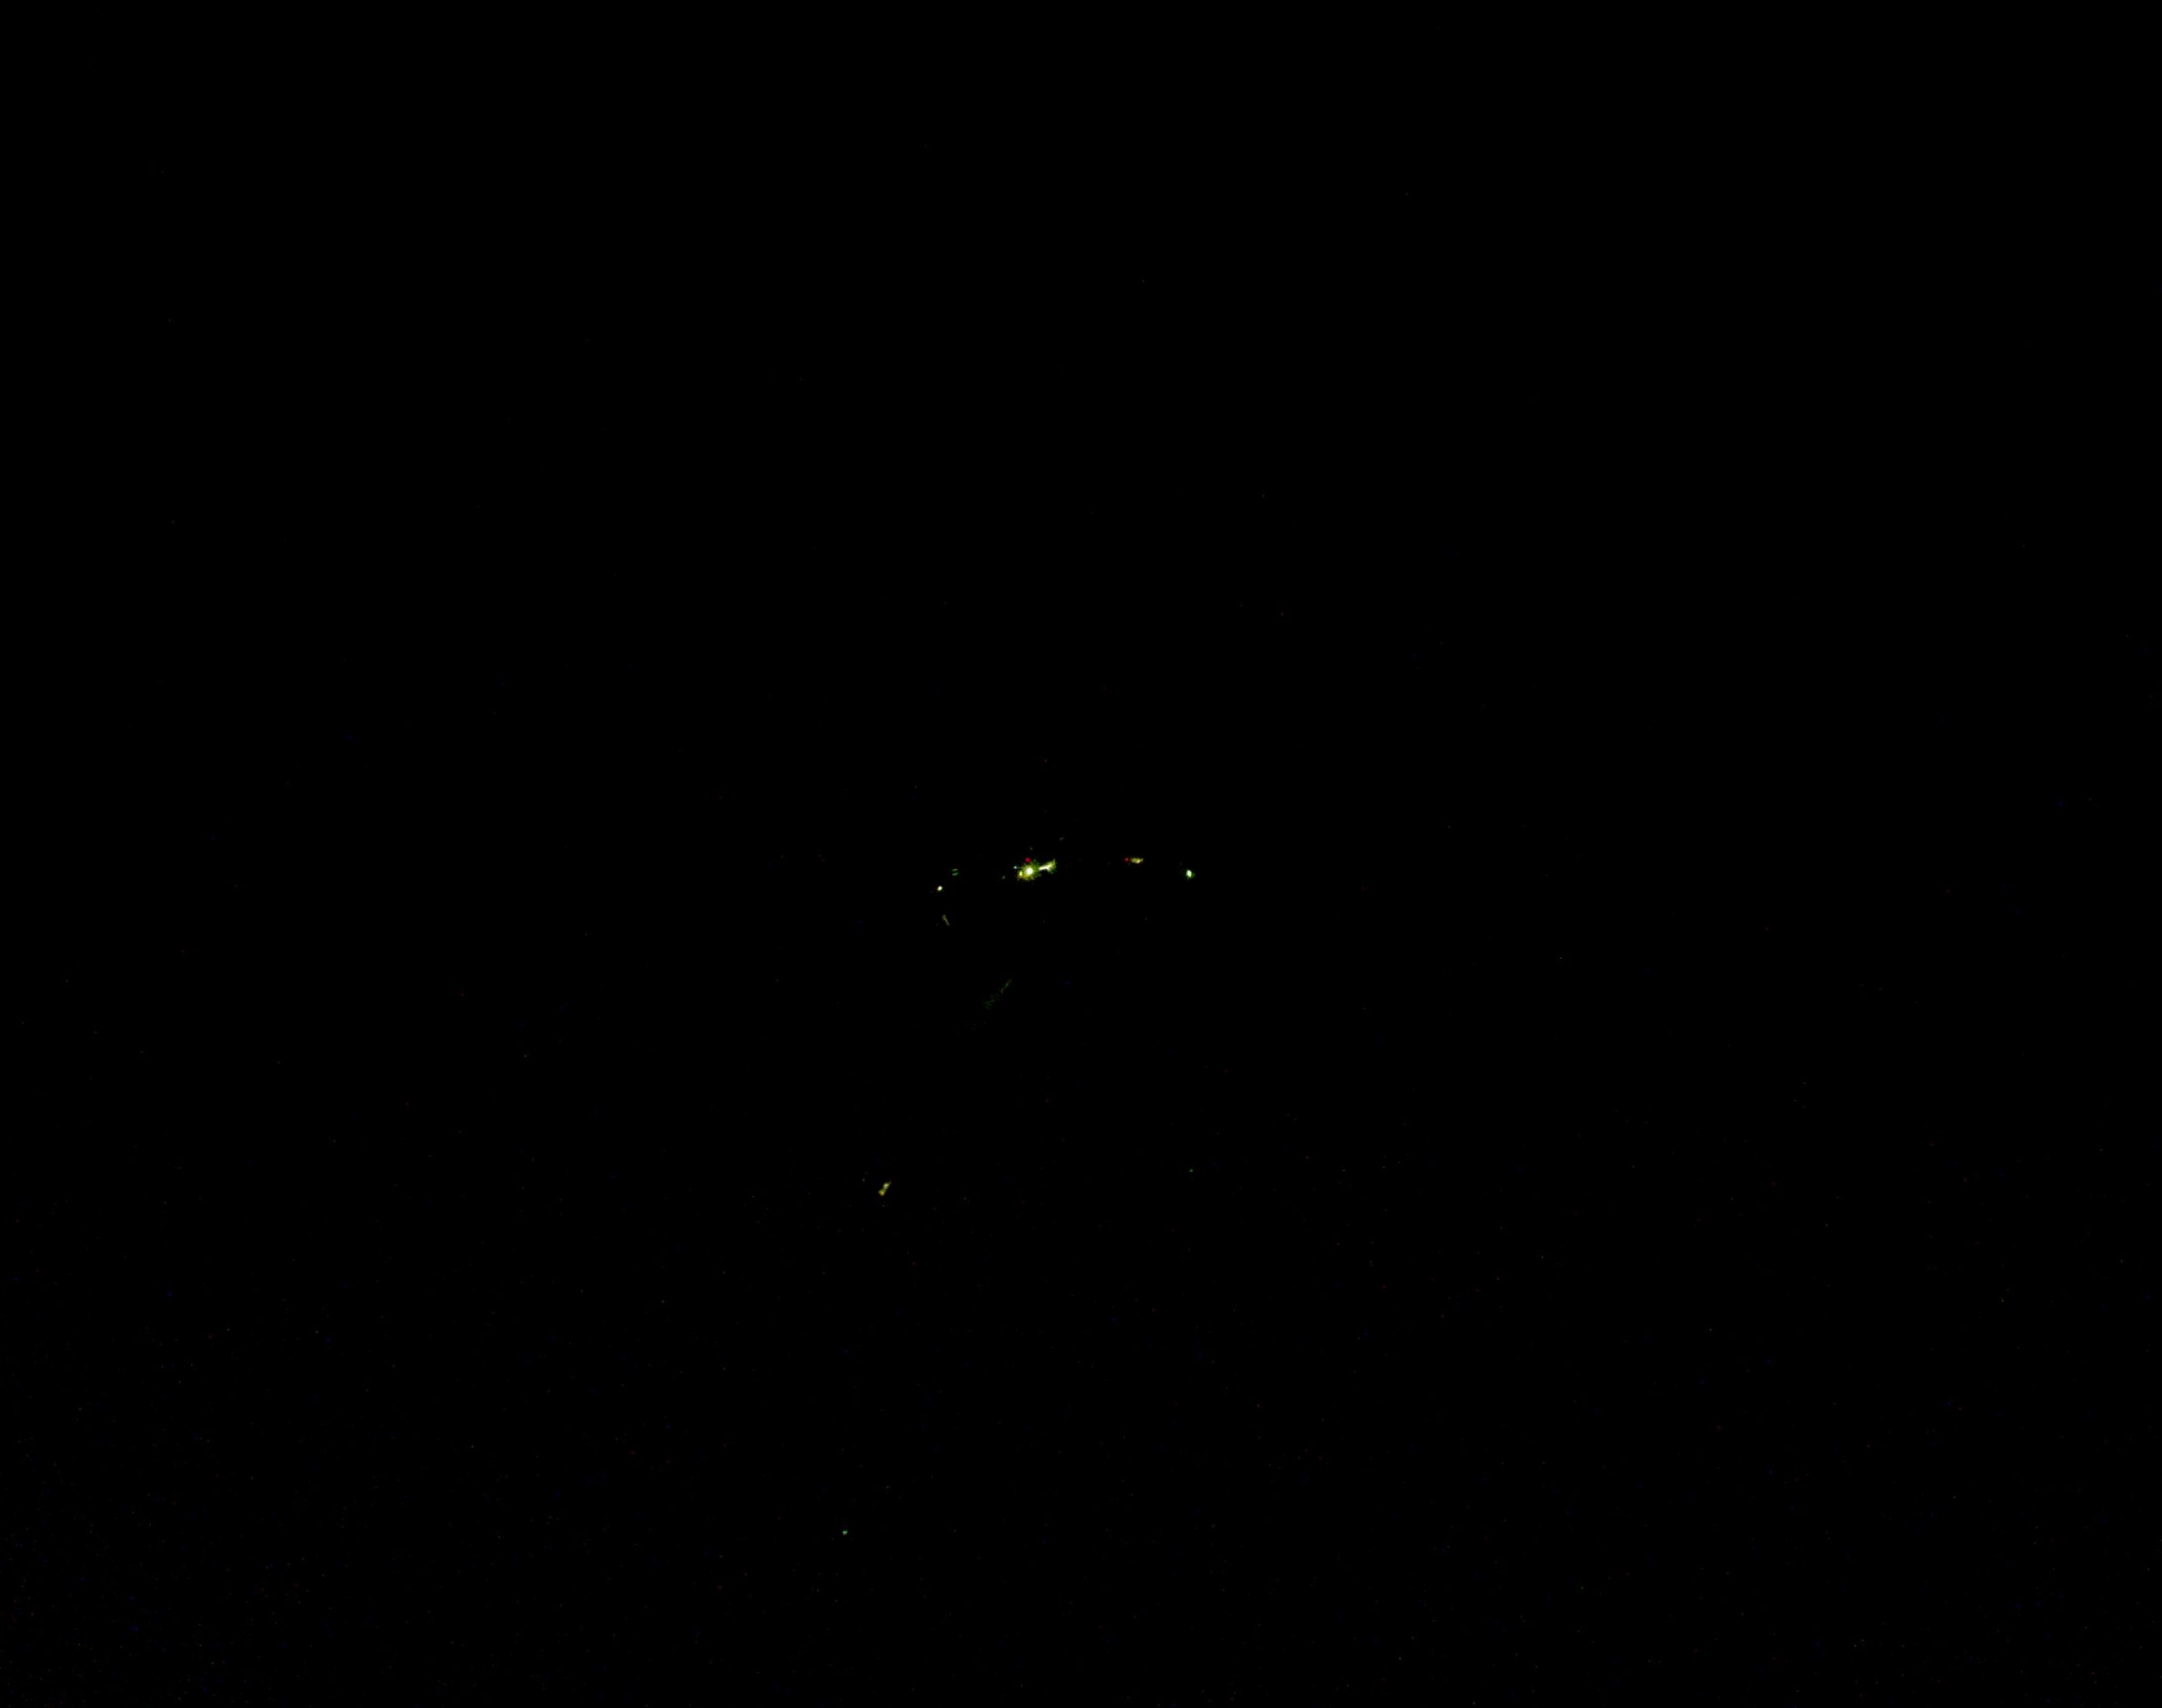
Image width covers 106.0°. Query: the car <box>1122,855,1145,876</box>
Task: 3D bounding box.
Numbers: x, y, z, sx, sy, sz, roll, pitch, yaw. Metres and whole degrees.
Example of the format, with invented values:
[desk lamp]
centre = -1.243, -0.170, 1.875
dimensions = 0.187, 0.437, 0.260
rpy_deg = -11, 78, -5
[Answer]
[car]
centre = 5.137, 1.170, 80.475
dimensions = 2.188, 2.014, 4.209
rpy_deg = 0, -3, 3
